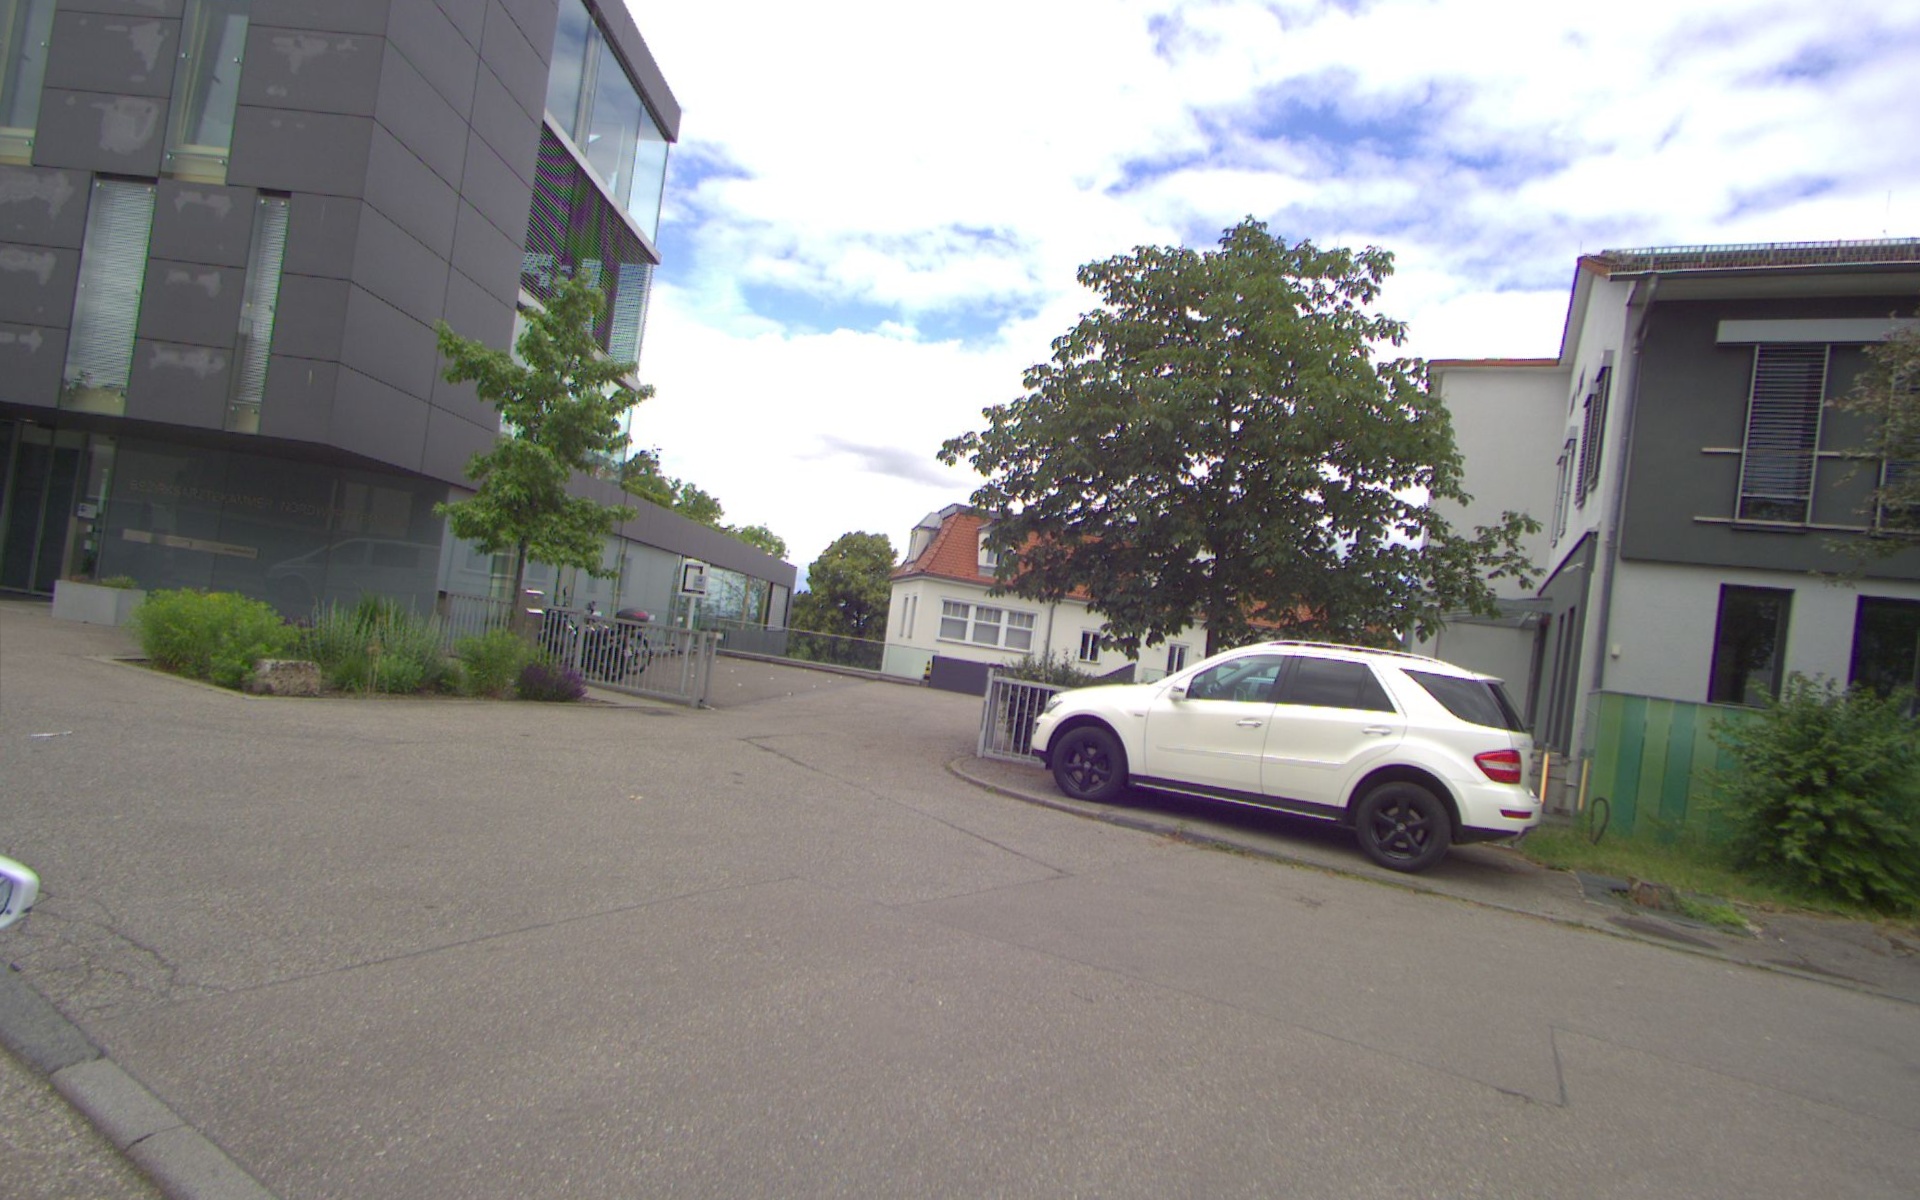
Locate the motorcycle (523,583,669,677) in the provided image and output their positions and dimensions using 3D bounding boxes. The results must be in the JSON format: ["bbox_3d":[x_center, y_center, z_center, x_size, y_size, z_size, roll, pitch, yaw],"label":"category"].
[{"bbox_3d":[-6.774,0.560,18.739,2.416,1.409,0.671,7,-1,13],"label":"motorcycle"}]

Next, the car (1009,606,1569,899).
[{"bbox_3d":[3.033,1.262,9.673,4.643,1.778,1.856,7,-2,31],"label":"car"}]

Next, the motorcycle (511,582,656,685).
[{"bbox_3d":[-6.260,0.556,16.731,2.084,1.409,0.671,7,-1,13],"label":"motorcycle"}]

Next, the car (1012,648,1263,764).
[{"bbox_3d":[3.231,1.885,18.429,4.142,1.501,1.621,5,-2,25],"label":"car"}]
